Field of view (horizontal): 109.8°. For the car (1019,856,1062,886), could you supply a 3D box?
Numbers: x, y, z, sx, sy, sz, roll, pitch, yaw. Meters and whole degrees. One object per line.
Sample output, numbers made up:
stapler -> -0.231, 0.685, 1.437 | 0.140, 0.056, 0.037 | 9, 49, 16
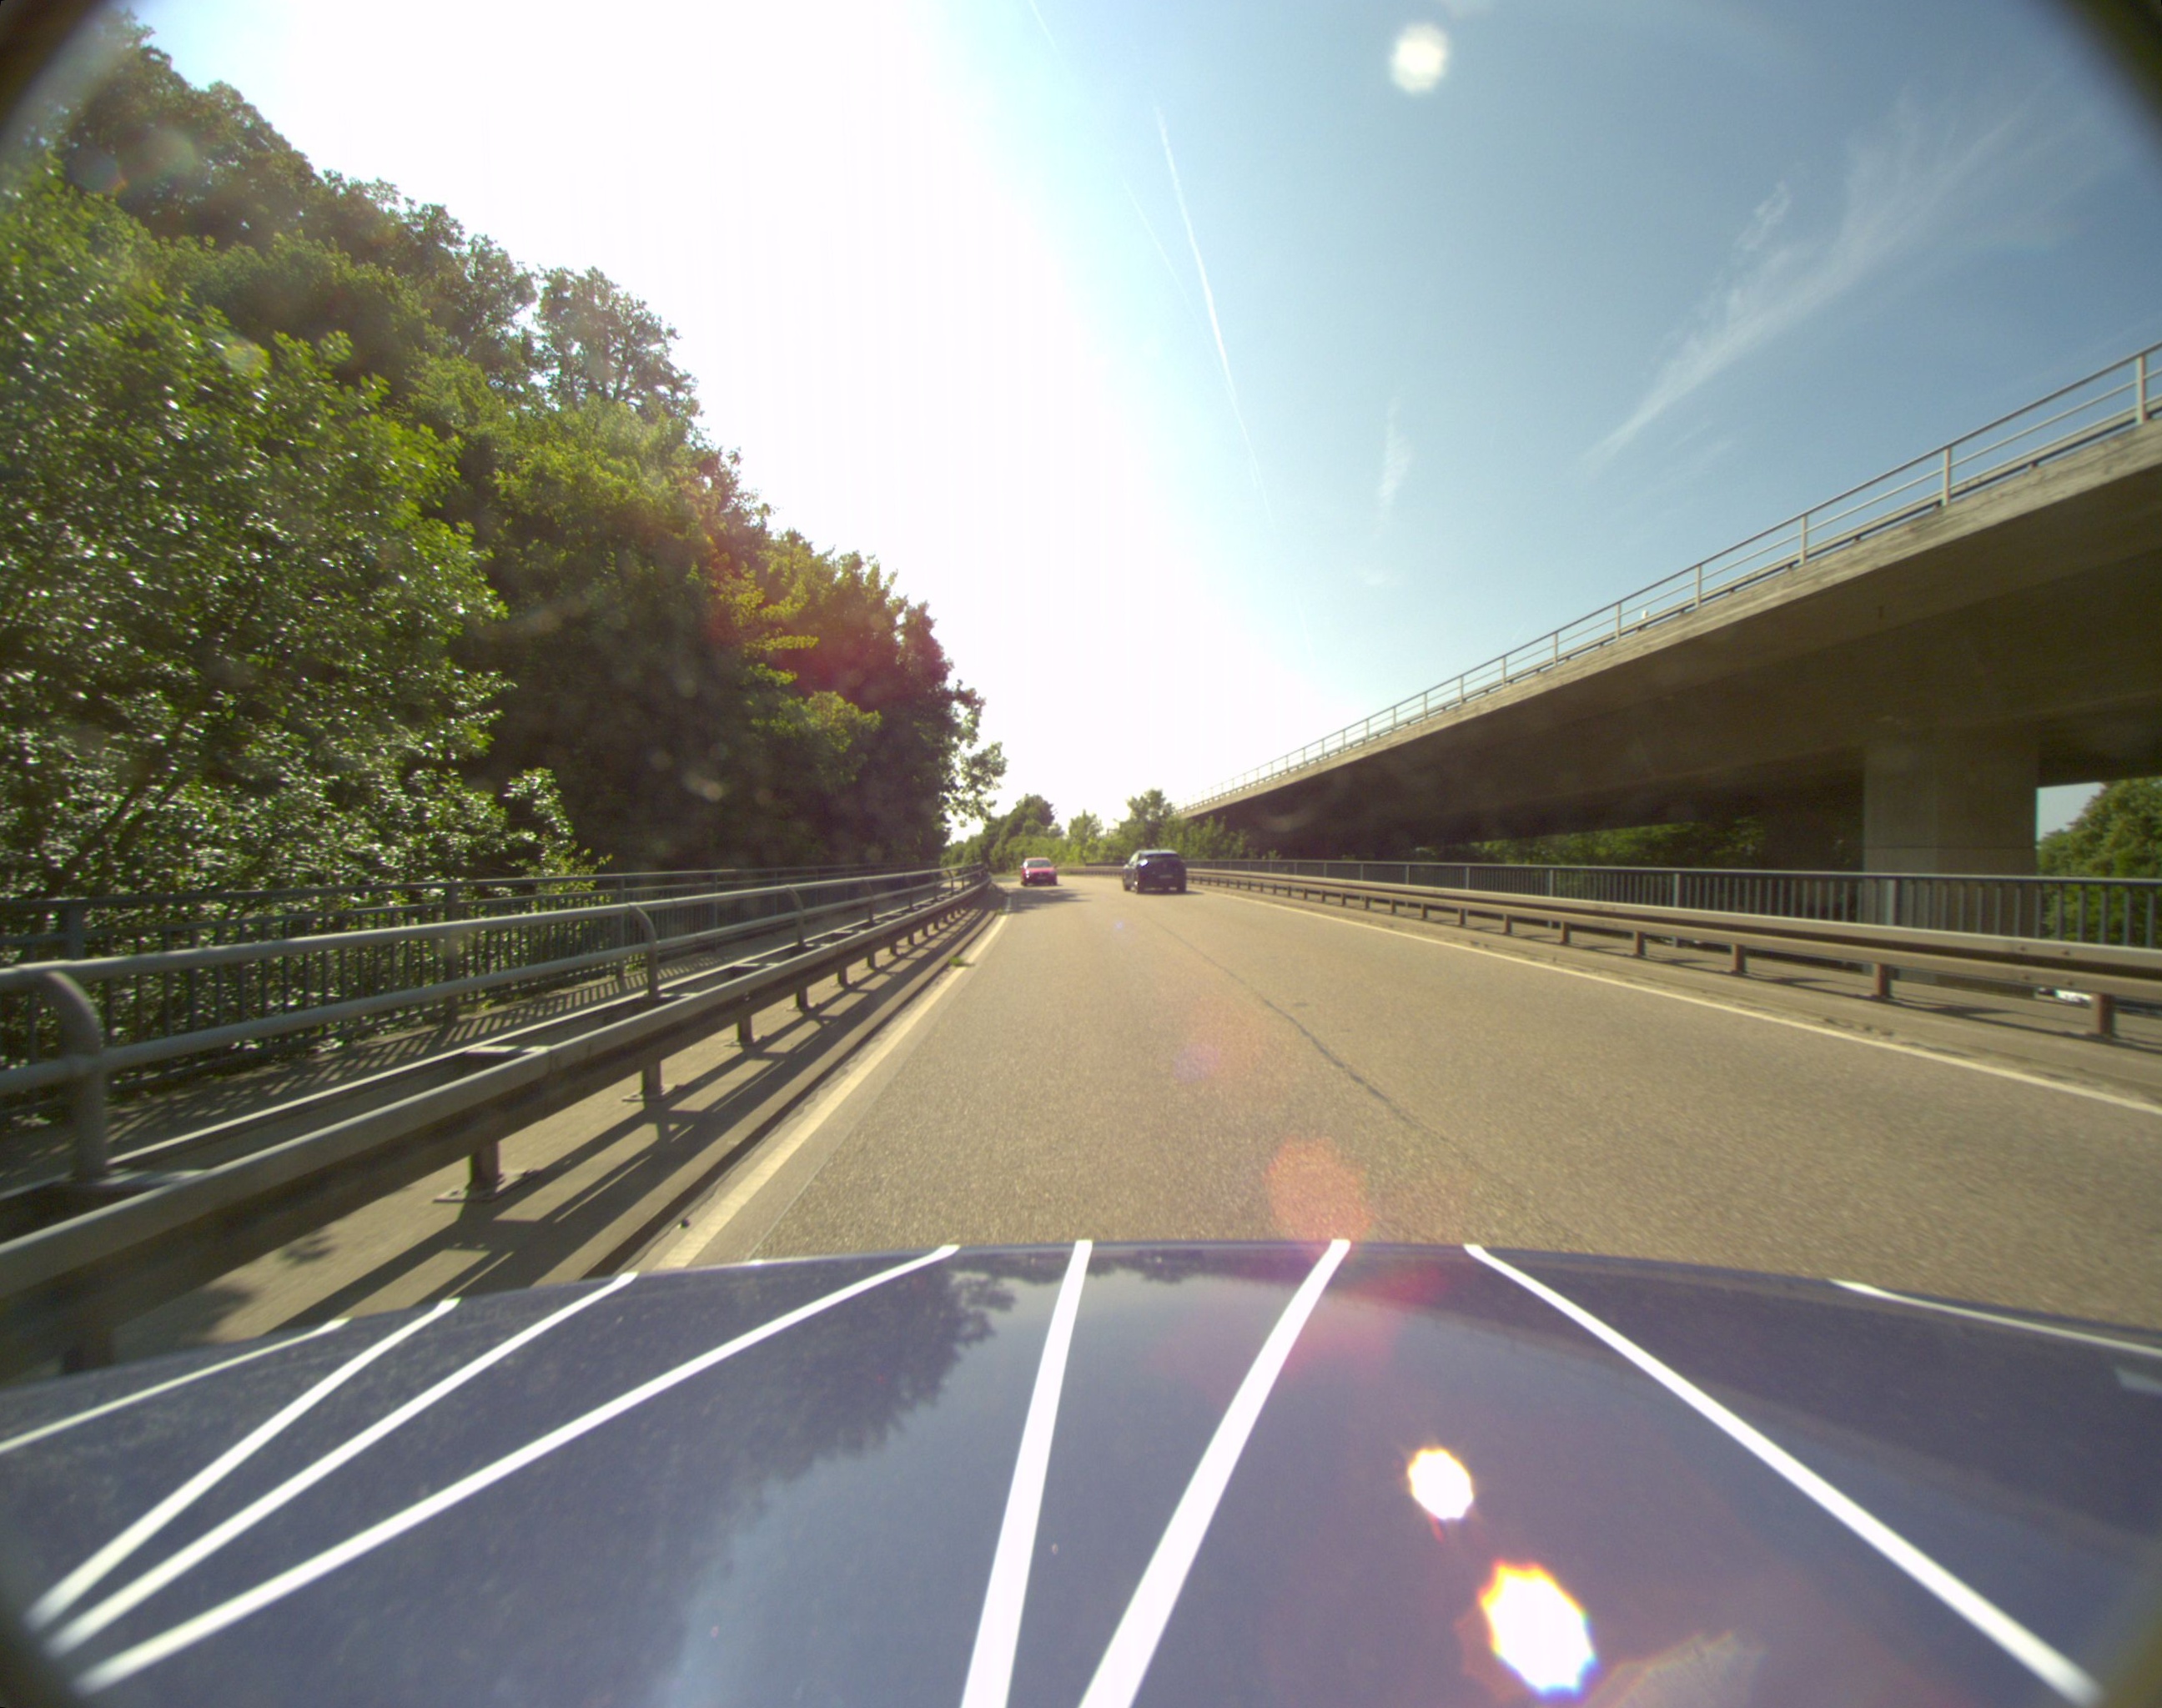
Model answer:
car -> -2.245, 0.871, 40.846 | 1.818, 1.488, 4.282 | -1, 0, -9

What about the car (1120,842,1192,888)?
car -> 2.780, 0.373, 29.160 | 1.904, 1.571, 4.552 | -2, 1, -5
